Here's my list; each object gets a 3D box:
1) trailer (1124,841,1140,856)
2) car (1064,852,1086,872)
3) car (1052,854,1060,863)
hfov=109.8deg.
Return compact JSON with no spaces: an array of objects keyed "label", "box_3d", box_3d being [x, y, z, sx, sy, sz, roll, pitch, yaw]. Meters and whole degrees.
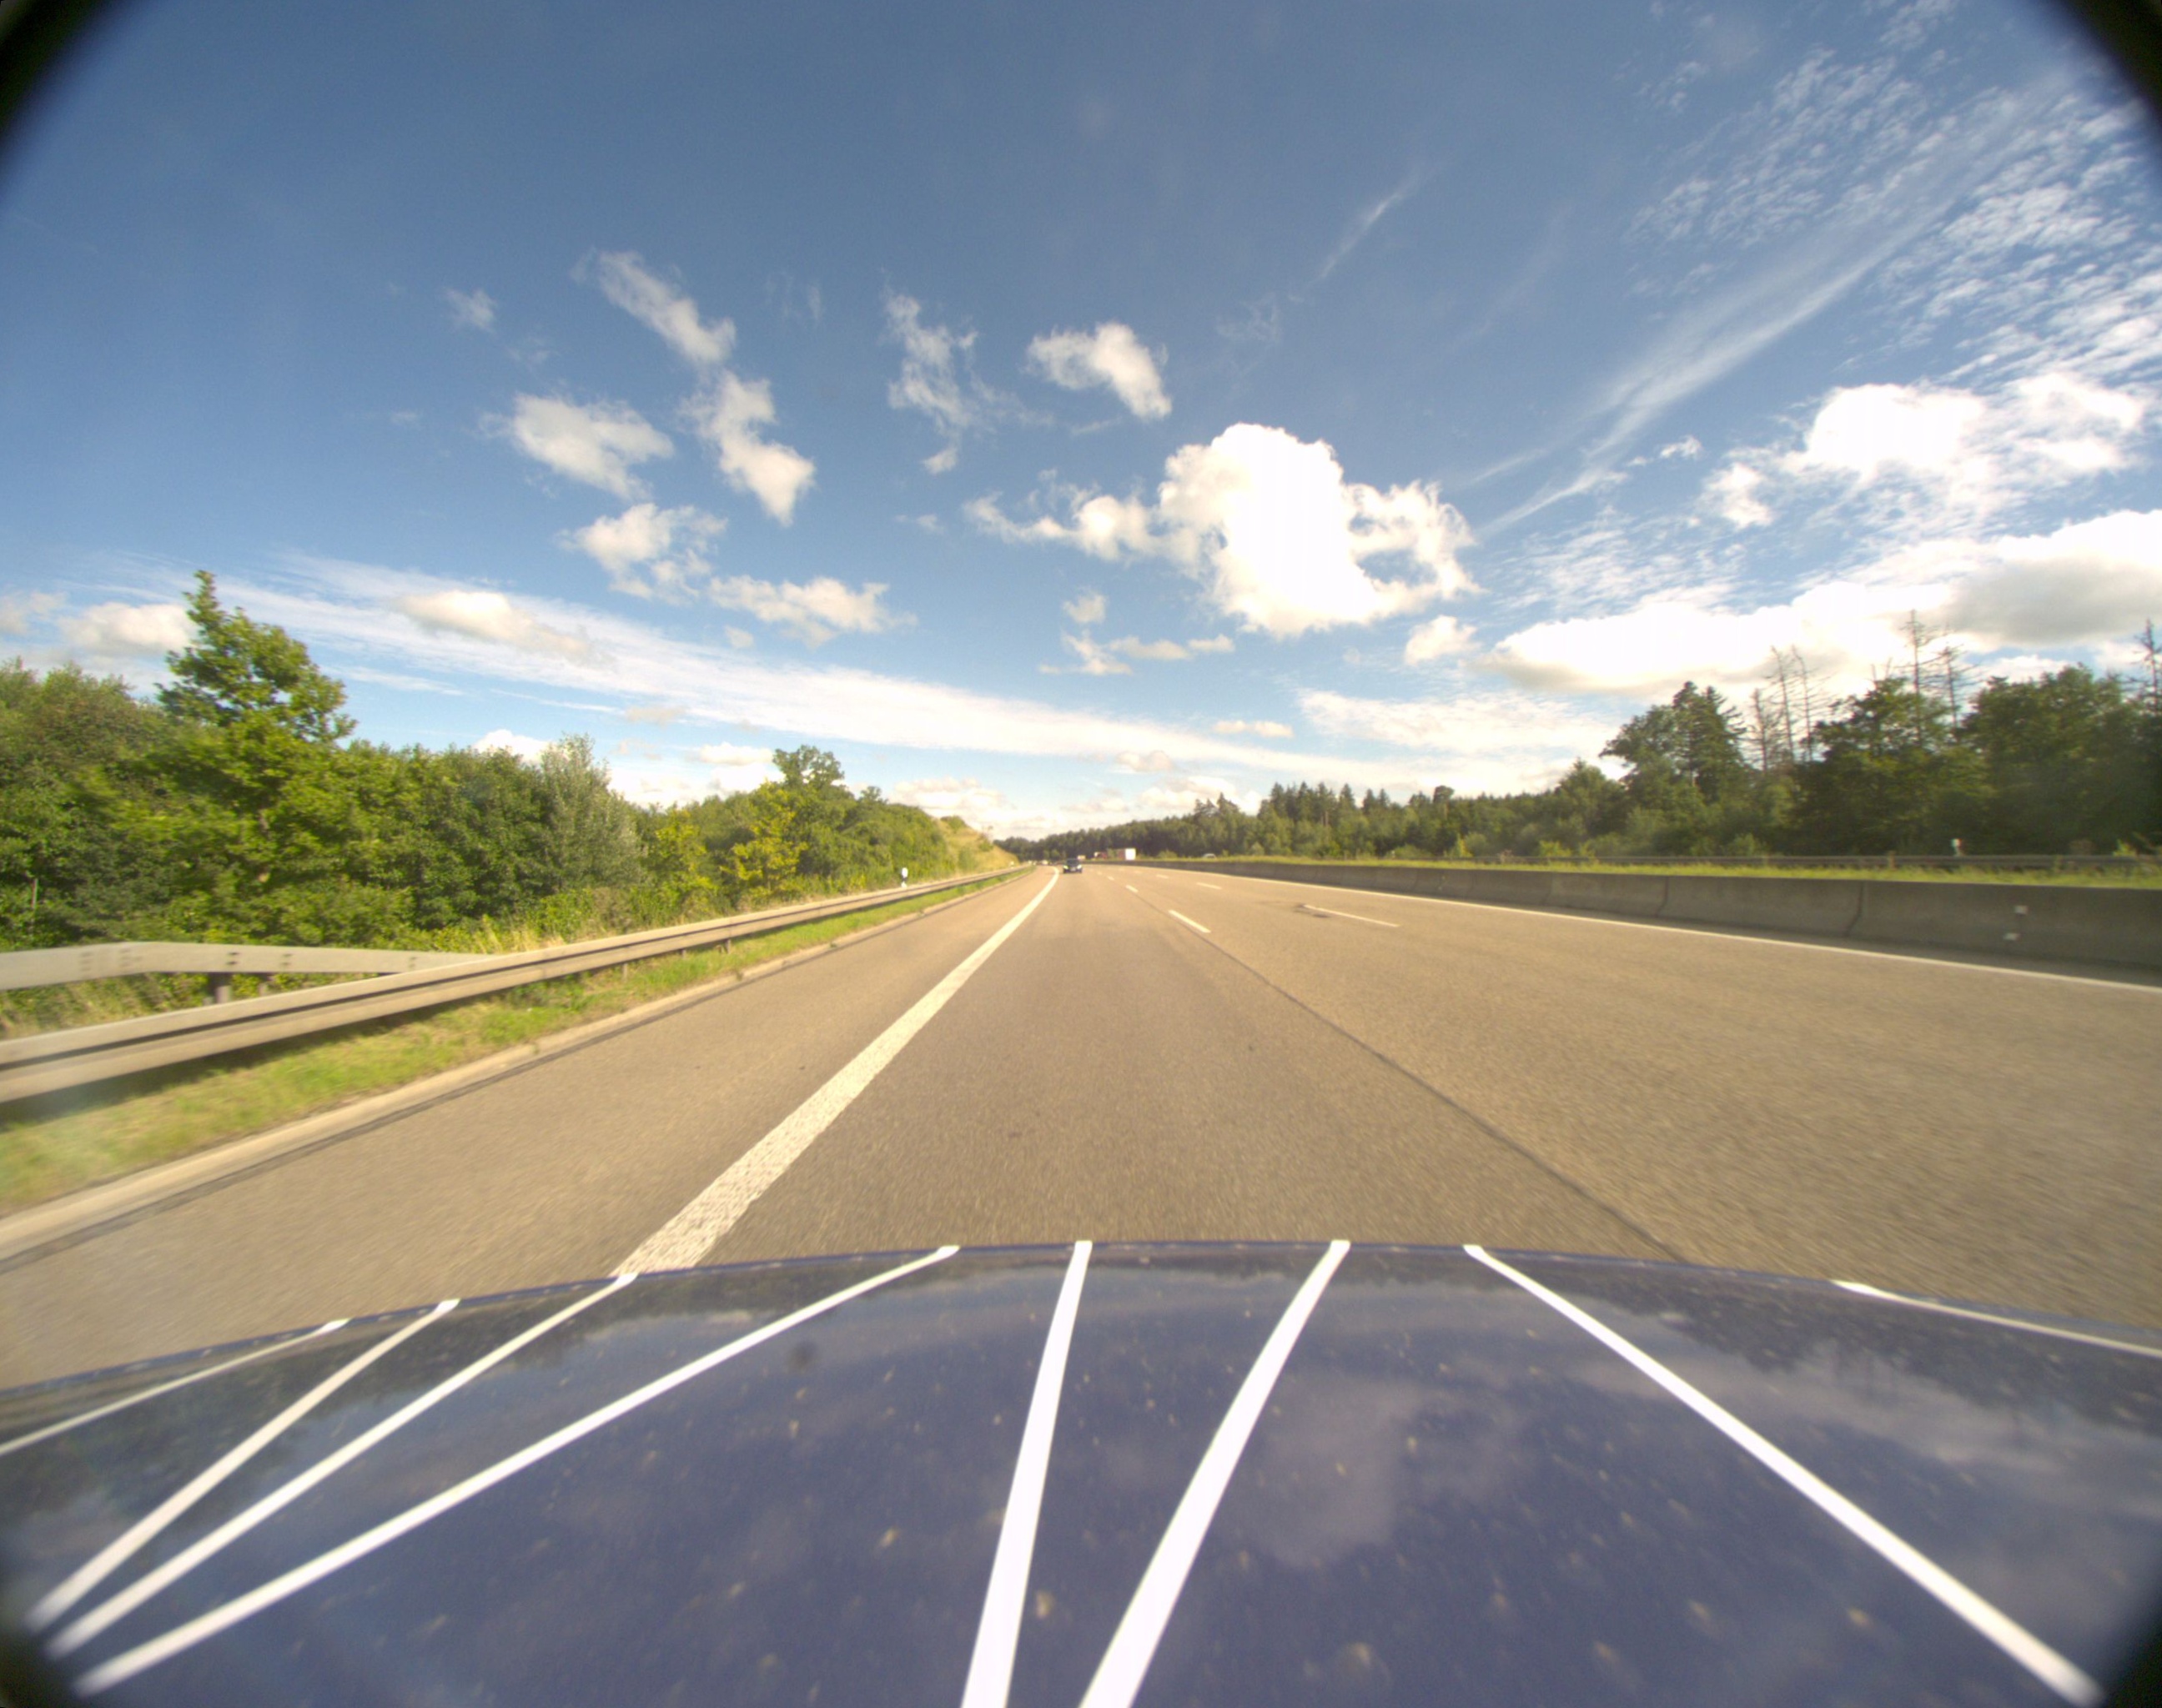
[{"label":"trailer","box_3d":[14.505,-1.500,217.047,3.029,4.084,12.788,-2,0,-2]},{"label":"car","box_3d":[-0.596,0.808,74.852,1.999,1.827,3.999,-2,1,-1]},{"label":"car","box_3d":[-6.132,1.140,187.174,1.999,2.002,3.999,-3,0,-2]}]
